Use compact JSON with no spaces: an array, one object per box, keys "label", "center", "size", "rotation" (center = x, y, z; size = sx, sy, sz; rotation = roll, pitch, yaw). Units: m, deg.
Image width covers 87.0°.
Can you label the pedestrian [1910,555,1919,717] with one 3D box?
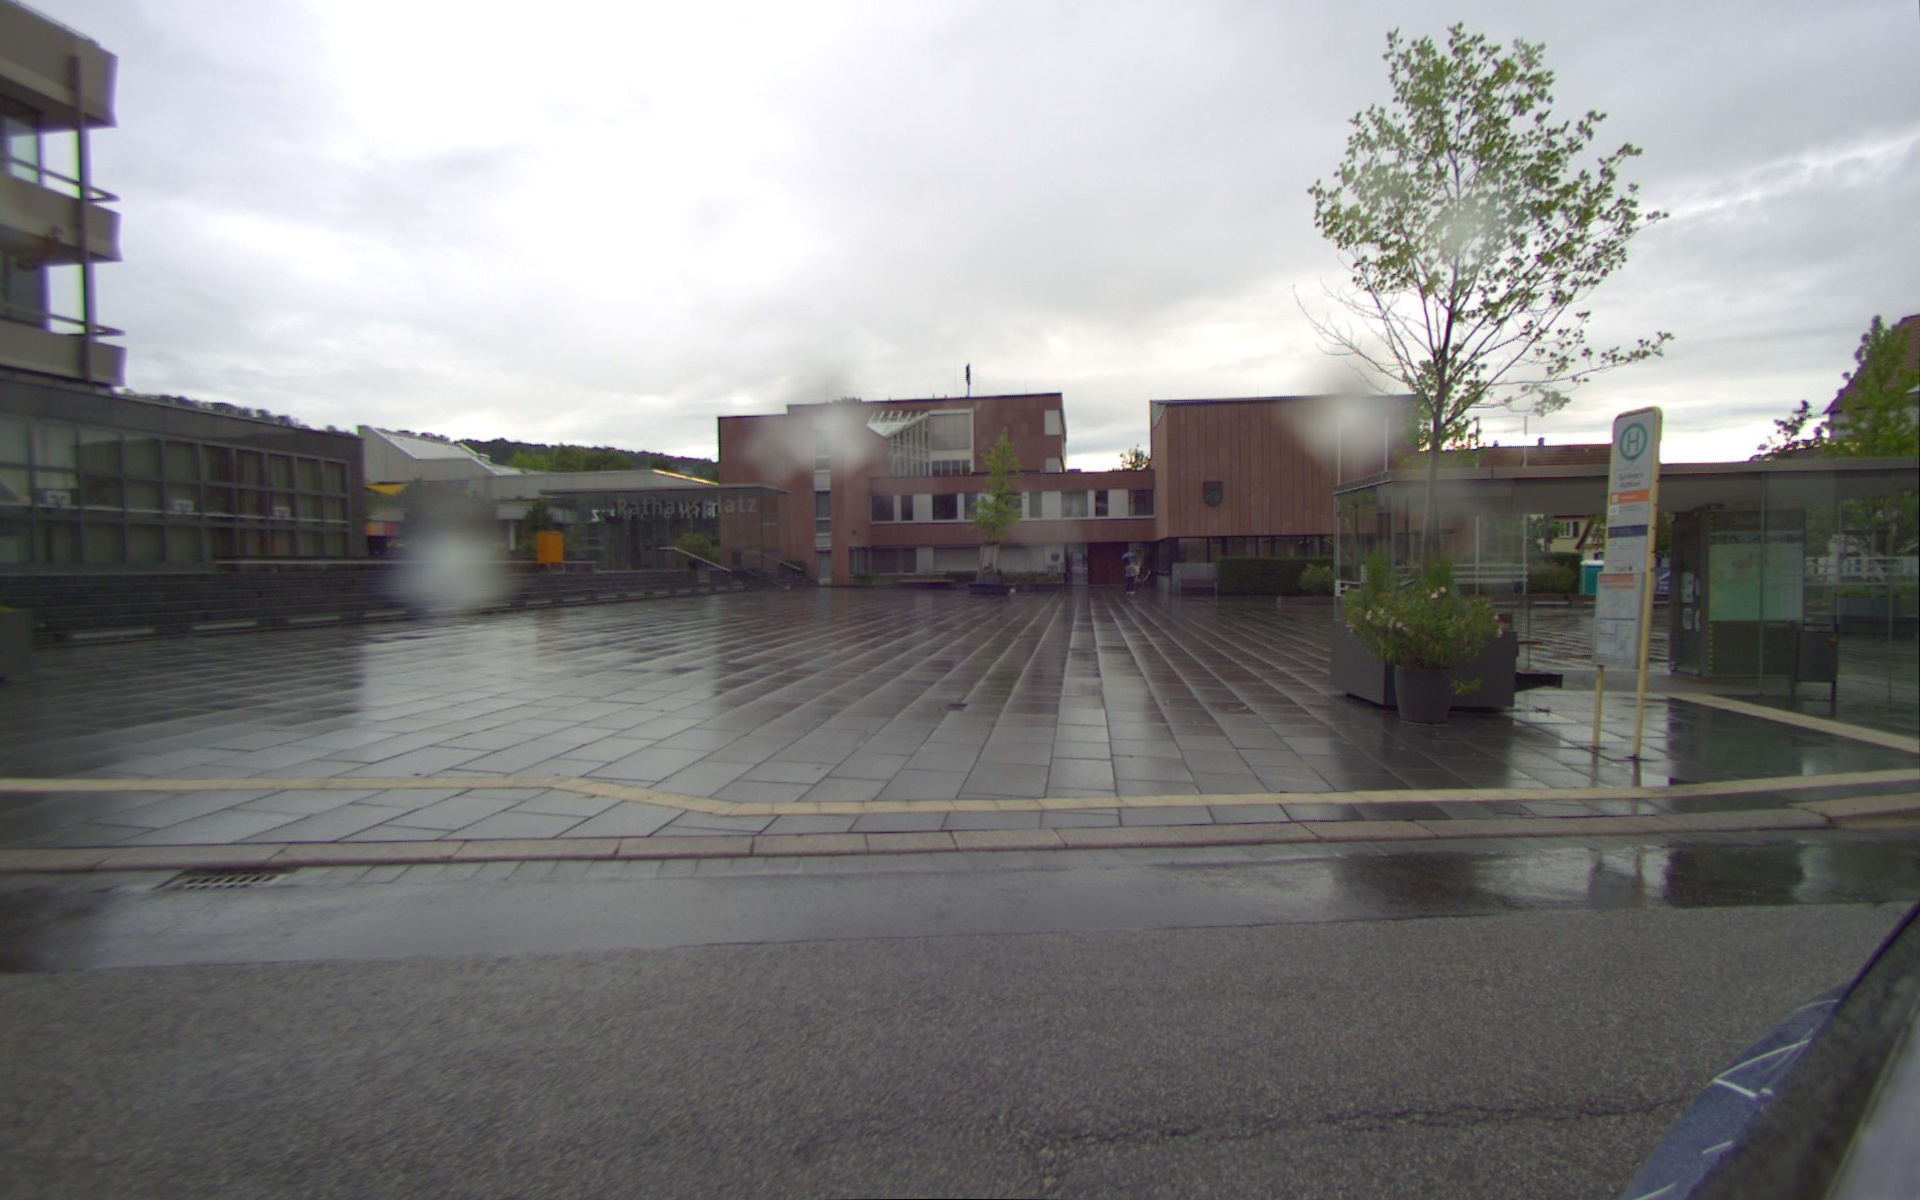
[{"label":"pedestrian","center":[10.075,0.379,9.959],"size":[0.680,1.637,0.731],"rotation":[0,2,-3]}]

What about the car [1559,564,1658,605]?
[{"label":"car","center":[37.439,-0.907,58.556],"size":[4.301,2.245,1.998],"rotation":[1,2,6]}]

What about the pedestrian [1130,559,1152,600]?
[{"label":"pedestrian","center":[9.165,-1.045,51.261],"size":[0.729,2.038,0.849],"rotation":[2,3,42]}]

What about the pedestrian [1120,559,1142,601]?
[{"label":"pedestrian","center":[8.562,-1.017,50.590],"size":[0.729,2.038,0.849],"rotation":[2,3,42]}]
